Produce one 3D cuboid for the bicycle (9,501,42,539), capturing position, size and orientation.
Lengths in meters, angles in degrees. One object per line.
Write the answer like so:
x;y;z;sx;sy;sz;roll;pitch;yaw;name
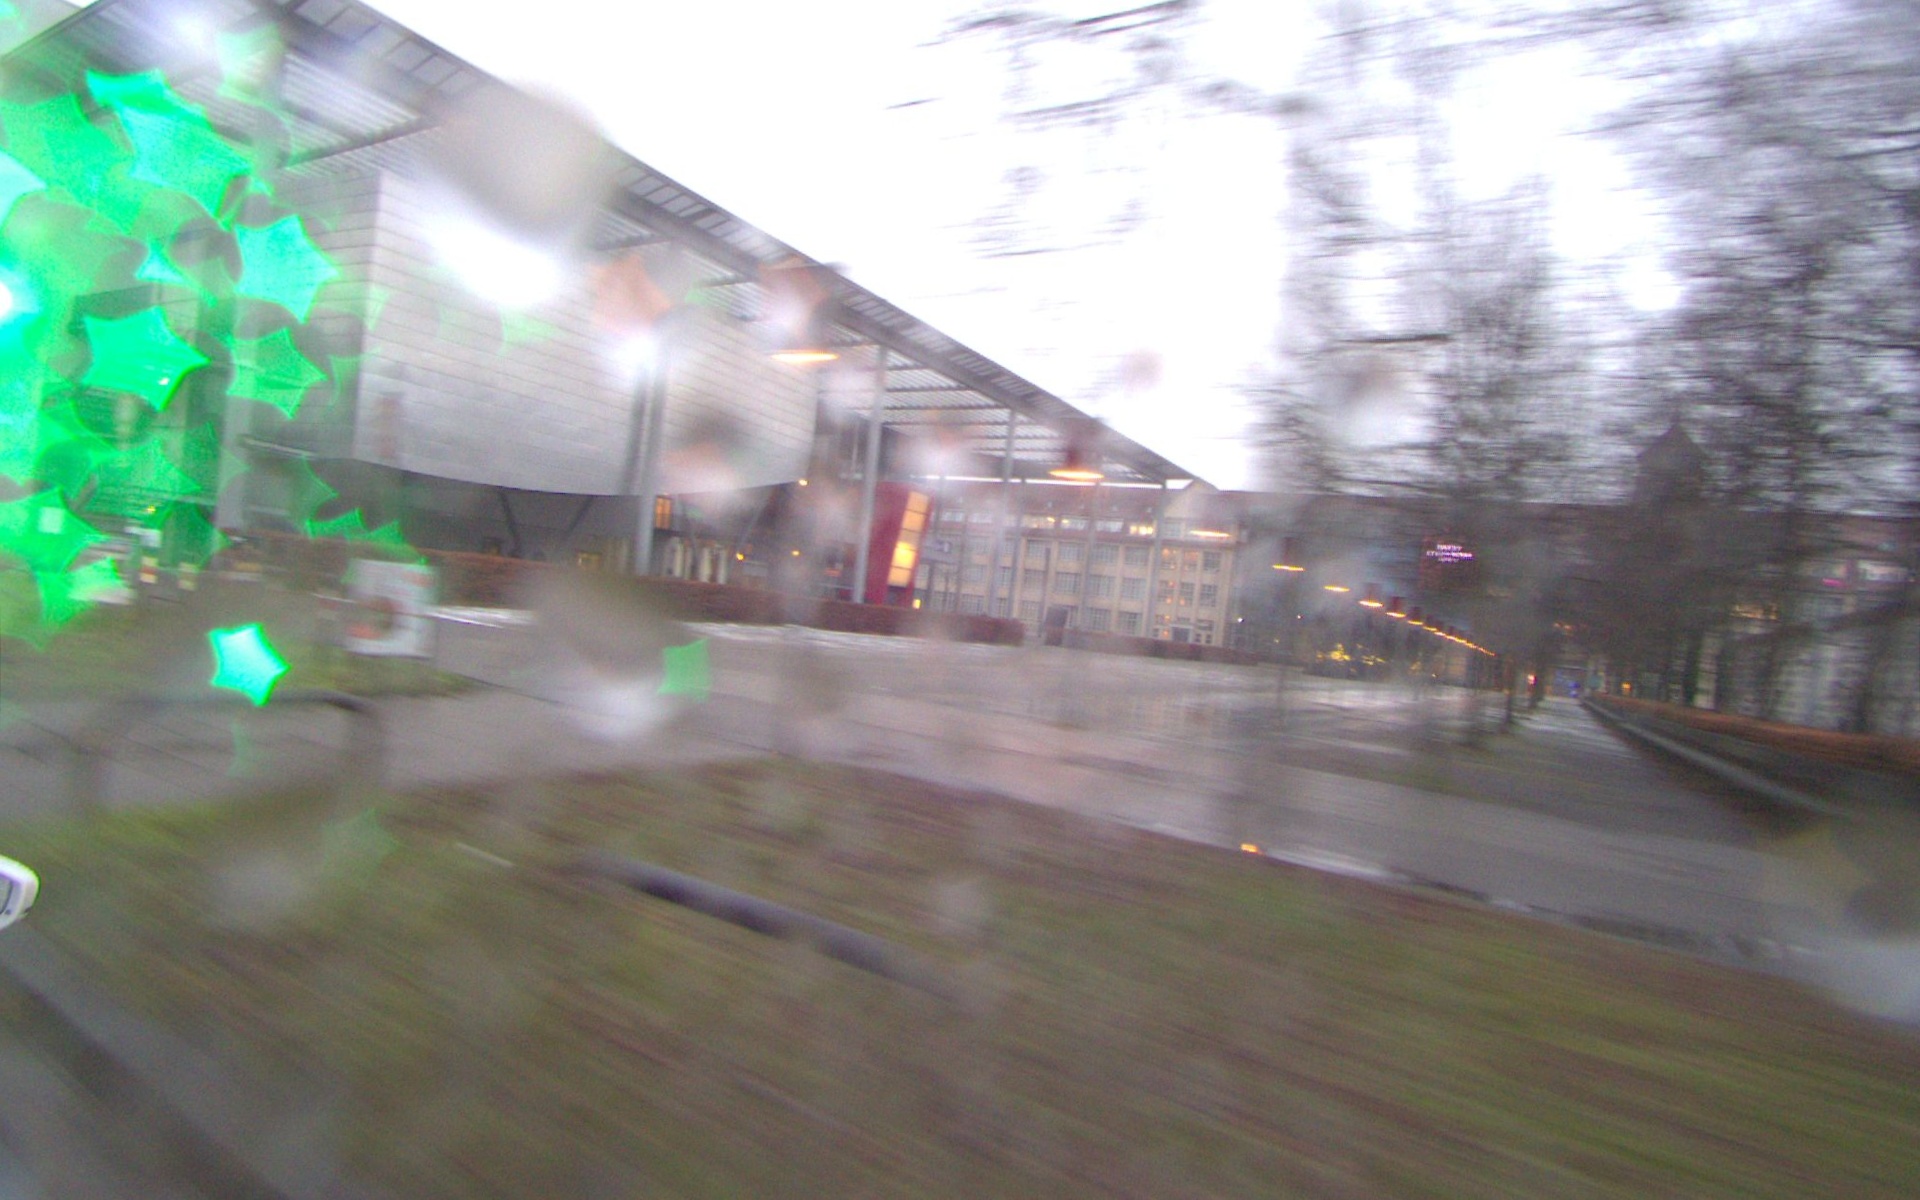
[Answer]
-34.693;-2.957;37.350;0.407;1.299;1.731;8;-2;-31;bicycle
